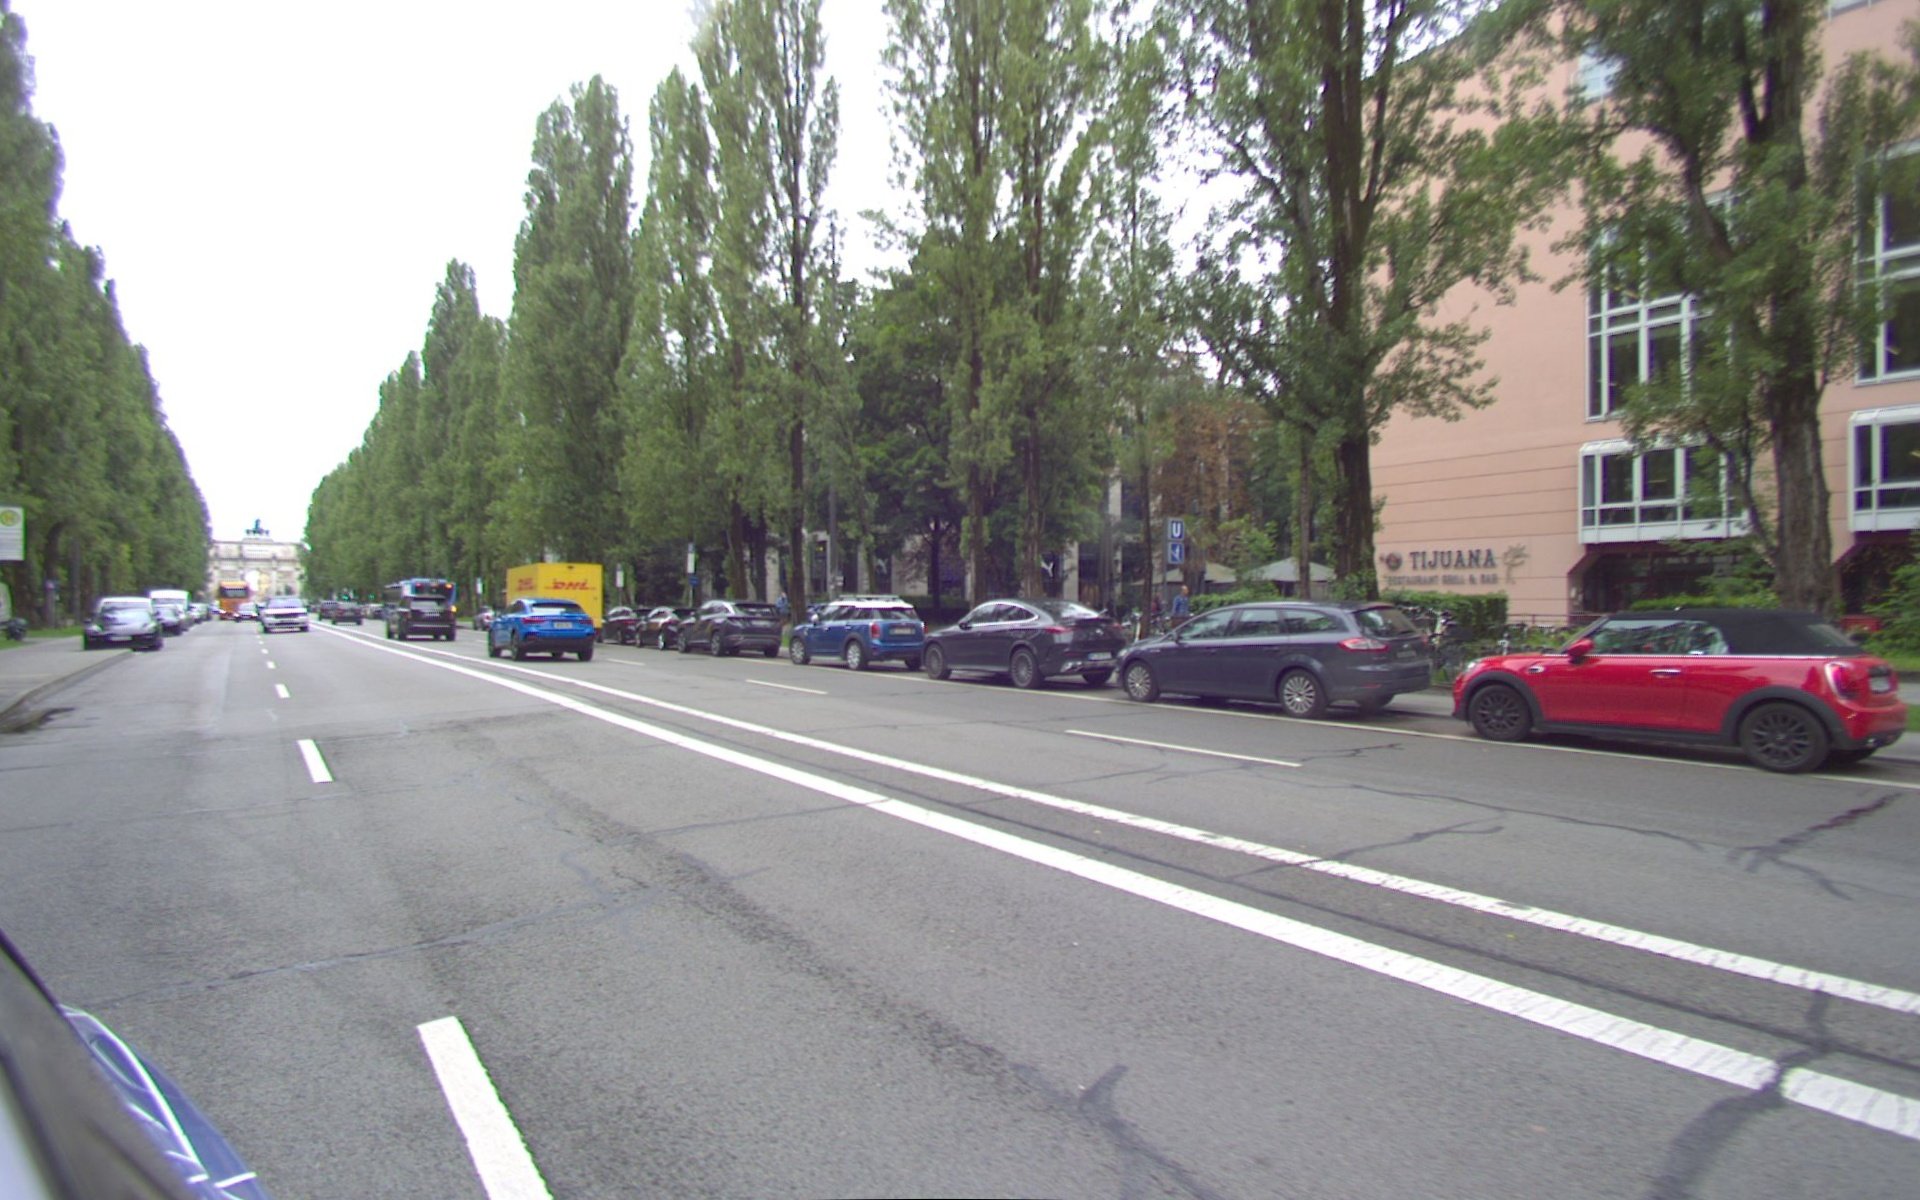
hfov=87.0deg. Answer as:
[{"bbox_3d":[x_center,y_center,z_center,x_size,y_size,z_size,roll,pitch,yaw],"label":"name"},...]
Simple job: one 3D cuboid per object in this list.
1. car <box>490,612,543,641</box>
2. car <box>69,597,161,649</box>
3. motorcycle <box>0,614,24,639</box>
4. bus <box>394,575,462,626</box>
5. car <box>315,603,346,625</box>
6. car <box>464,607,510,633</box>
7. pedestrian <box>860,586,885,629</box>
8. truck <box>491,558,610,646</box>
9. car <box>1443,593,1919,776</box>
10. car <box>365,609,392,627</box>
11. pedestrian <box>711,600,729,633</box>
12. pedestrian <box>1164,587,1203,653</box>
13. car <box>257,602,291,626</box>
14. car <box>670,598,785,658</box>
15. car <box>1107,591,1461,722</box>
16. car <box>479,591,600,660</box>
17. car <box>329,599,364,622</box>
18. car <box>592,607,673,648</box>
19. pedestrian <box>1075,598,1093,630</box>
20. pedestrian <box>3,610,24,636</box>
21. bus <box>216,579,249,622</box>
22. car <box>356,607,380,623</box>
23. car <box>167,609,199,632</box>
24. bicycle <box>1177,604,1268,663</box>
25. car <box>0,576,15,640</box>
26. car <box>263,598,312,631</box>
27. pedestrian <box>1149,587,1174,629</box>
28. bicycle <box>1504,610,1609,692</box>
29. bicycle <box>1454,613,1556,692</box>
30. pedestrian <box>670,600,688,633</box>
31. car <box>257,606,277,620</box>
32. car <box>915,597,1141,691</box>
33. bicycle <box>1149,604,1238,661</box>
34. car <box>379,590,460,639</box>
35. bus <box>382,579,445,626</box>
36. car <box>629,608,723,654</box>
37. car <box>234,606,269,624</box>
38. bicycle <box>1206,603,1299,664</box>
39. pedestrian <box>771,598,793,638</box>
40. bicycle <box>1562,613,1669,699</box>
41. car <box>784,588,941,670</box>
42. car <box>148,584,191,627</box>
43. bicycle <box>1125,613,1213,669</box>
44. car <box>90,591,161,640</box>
[{"bbox_3d":[-23.160,1.346,52.806,1.764,1.422,3.891,0,0,-36],"label":"car"},{"bbox_3d":[-27.759,0.718,33.363,1.979,1.592,4.010,0,0,-35],"label":"car"},{"bbox_3d":[-37.349,1.033,39.574,1.651,0.945,0.464,-1,-1,22],"label":"motorcycle"},{"bbox_3d":[-34.276,0.105,65.025,2.878,3.075,8.539,0,-1,-34],"label":"bus"},{"bbox_3d":[-53.544,1.192,86.051,1.967,1.735,4.827,1,-1,-35],"label":"car"},{"bbox_3d":[-27.698,1.144,59.158,1.764,1.422,3.891,0,-1,-36],"label":"car"},{"bbox_3d":[-3.522,0.310,40.763,0.697,1.726,0.733,0,-1,-35],"label":"pedestrian"},{"bbox_3d":[-15.247,0.093,37.387,2.558,2.929,7.098,0,0,-35],"label":"truck"},{"bbox_3d":[7.151,0.689,10.127,1.650,1.460,3.884,0,-1,-33],"label":"car"},{"bbox_3d":[-59.628,1.824,103.806,1.967,1.735,4.827,1,-1,-35],"label":"car"},{"bbox_3d":[-12.742,0.885,53.741,0.697,1.726,0.733,0,-1,-35],"label":"pedestrian"},{"bbox_3d":[5.980,0.530,27.100,0.697,1.726,0.733,0,-1,-35],"label":"pedestrian"},{"bbox_3d":[-48.900,0.980,72.103,1.979,1.592,4.010,0,0,-35],"label":"car"},{"bbox_3d":[-6.850,0.763,29.513,1.764,1.613,4.247,0,-1,-36],"label":"car"},{"bbox_3d":[4.359,0.689,14.364,1.764,1.540,4.634,0,-1,-36],"label":"car"},{"bbox_3d":[-10.760,0.625,25.708,1.841,1.591,4.433,2,-2,-36],"label":"car"},{"bbox_3d":[-41.700,0.713,68.800,1.818,1.538,3.762,1,-1,-34],"label":"car"},{"bbox_3d":[-12.205,0.982,37.619,1.764,1.422,3.891,0,-1,-36],"label":"car"},{"bbox_3d":[6.772,0.742,55.256,0.720,1.726,0.710,0,-1,-38],"label":"pedestrian"},{"bbox_3d":[-62.550,1.492,66.891,0.875,1.705,0.770,0,-1,-32],"label":"pedestrian"},{"bbox_3d":[-73.490,0.096,102.235,2.606,4.143,9.819,0,-1,-36],"label":"bus"},{"bbox_3d":[-65.681,1.710,112.220,1.967,1.735,4.359,1,-1,-35],"label":"car"},{"bbox_3d":[-62.748,1.607,81.755,1.980,1.770,4.008,0,0,-38],"label":"car"},{"bbox_3d":[5.324,0.650,20.501,1.956,1.133,0.678,0,-1,-36],"label":"bicycle"},{"bbox_3d":[-47.653,0.391,49.017,2.164,3.040,6.012,0,-1,-38],"label":"car"},{"bbox_3d":[-34.344,0.733,51.656,1.979,1.592,4.010,-1,0,-35],"label":"car"},{"bbox_3d":[8.289,0.337,41.573,0.885,1.726,0.732,0,-1,21],"label":"pedestrian"},{"bbox_3d":[8.815,0.722,14.940,1.713,1.133,0.678,0,-1,-36],"label":"bicycle"},{"bbox_3d":[8.379,0.771,15.547,1.713,1.133,0.678,0,-1,-36],"label":"bicycle"},{"bbox_3d":[-14.894,0.860,53.591,0.697,1.726,0.733,0,-1,-35],"label":"pedestrian"},{"bbox_3d":[-82.165,1.540,119.944,1.979,1.592,4.010,0,0,-35],"label":"car"},{"bbox_3d":[1.128,0.742,18.966,1.764,1.540,4.525,0,-1,-36],"label":"car"},{"bbox_3d":[4.889,0.656,21.108,1.956,1.133,0.678,0,-1,-36],"label":"bicycle"},{"bbox_3d":[-21.560,0.591,40.252,1.967,1.762,5.074,3,-2,-38],"label":"car"},{"bbox_3d":[-38.746,0.238,71.565,2.878,3.075,9.821,0,-1,-34],"label":"bus"},{"bbox_3d":[-9.414,0.978,33.410,1.764,1.422,3.891,0,-1,-36],"label":"car"},{"bbox_3d":[-58.220,1.240,83.160,4.001,1.407,1.625,-1,-1,44],"label":"car"},{"bbox_3d":[5.739,0.643,19.834,1.956,1.133,0.678,0,-1,-36],"label":"bicycle"},{"bbox_3d":[-7.823,0.771,44.517,0.697,1.726,0.733,0,-1,-35],"label":"pedestrian"},{"bbox_3d":[9.262,0.762,14.286,1.701,1.133,0.678,0,-1,-36],"label":"bicycle"},{"bbox_3d":[-2.360,0.660,23.693,1.764,1.745,4.087,2,-2,-37],"label":"car"},{"bbox_3d":[-50.988,0.344,65.343,1.979,2.652,6.014,0,0,-36],"label":"car"},{"bbox_3d":[4.491,0.864,21.672,1.956,1.133,0.678,0,-1,-36],"label":"bicycle"},{"bbox_3d":[-32.613,0.646,39.643,1.980,1.770,4.008,-1,-2,-38],"label":"car"}]
